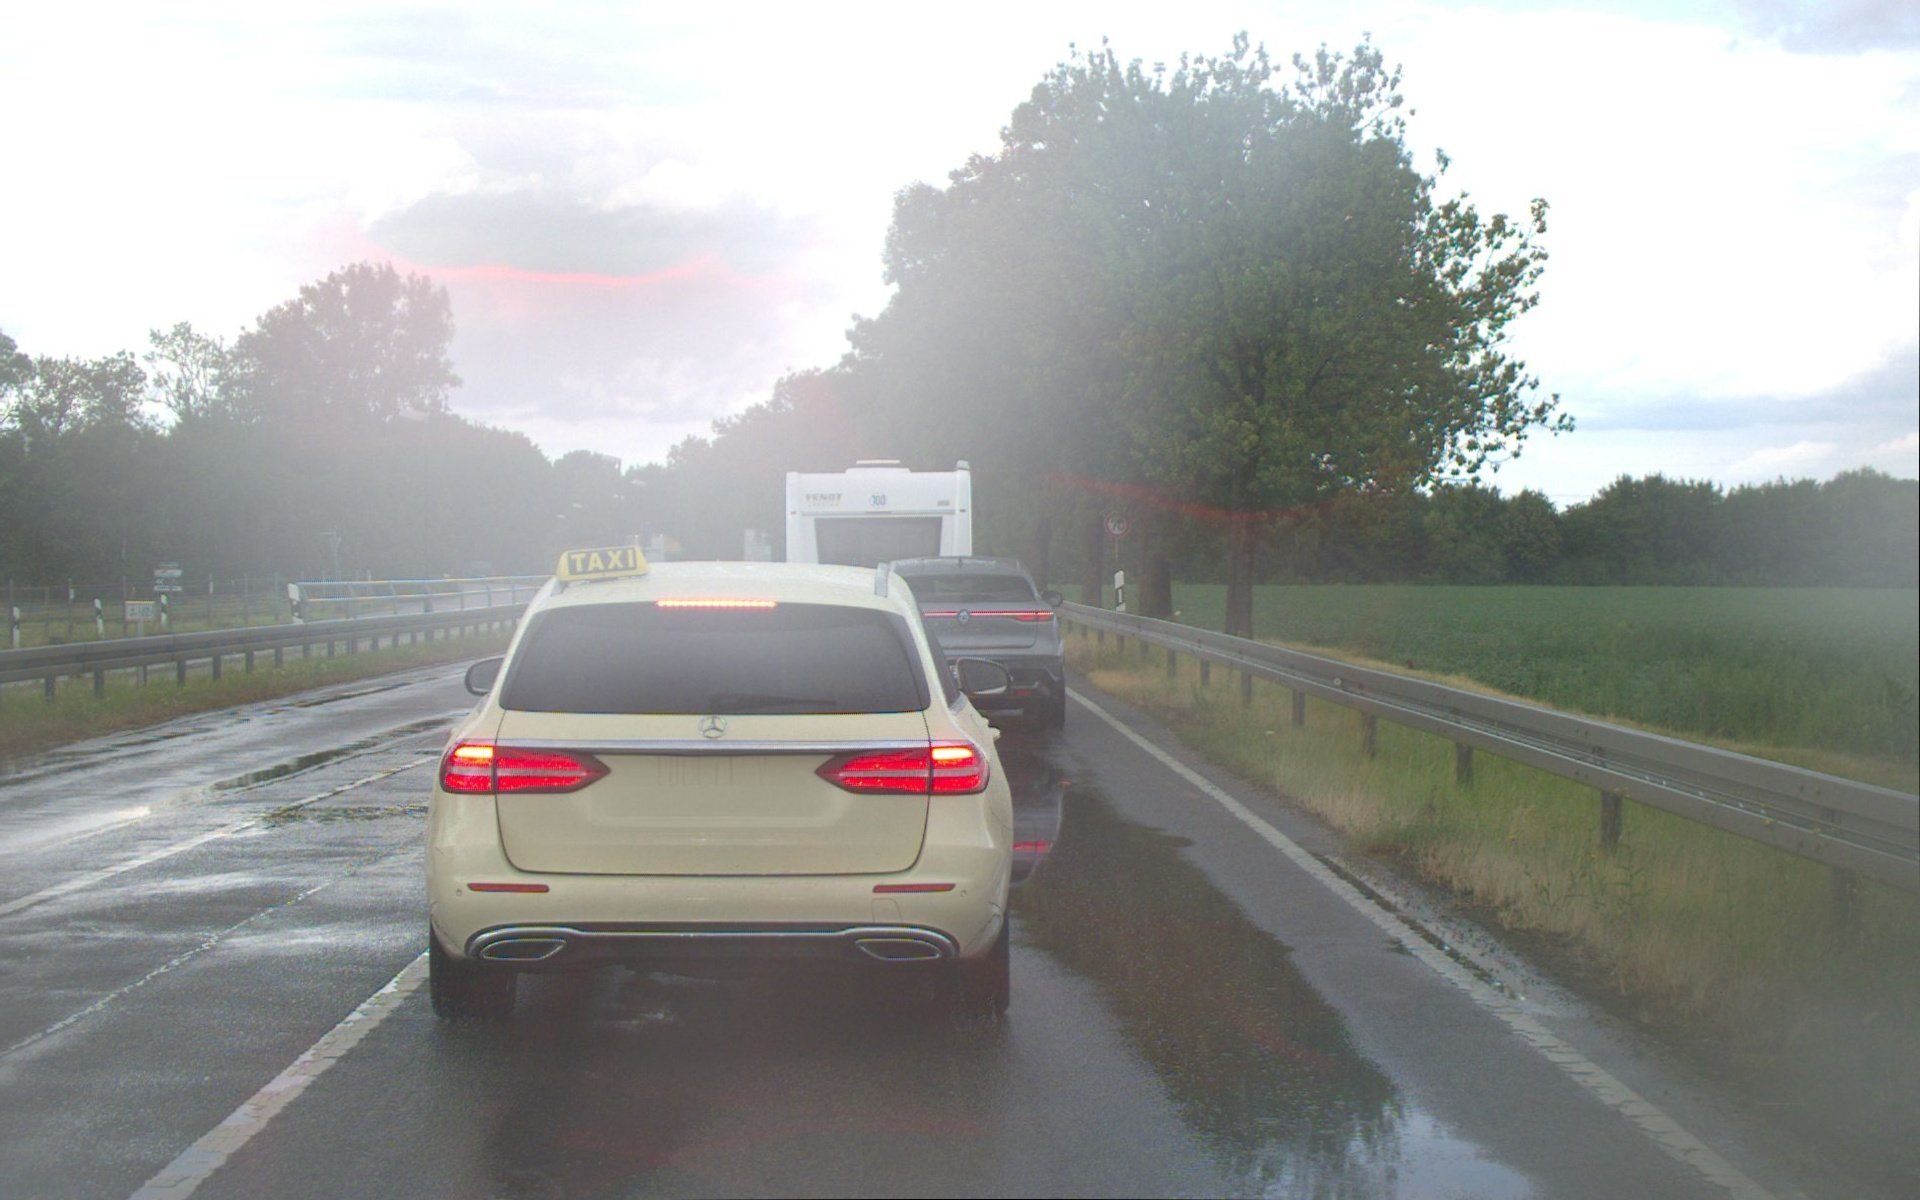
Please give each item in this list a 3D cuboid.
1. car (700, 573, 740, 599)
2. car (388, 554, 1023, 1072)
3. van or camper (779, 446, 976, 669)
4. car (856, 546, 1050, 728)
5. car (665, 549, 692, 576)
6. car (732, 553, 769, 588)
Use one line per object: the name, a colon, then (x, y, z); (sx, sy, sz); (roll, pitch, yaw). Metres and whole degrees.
car: (-12.023, -0.702, 172.639); (1.758, 1.265, 4.000); (0, 1, 0)
car: (-0.705, 0.585, 11.951); (1.825, 1.480, 4.145); (0, 1, 1)
van or camper: (-1.009, -0.567, 44.175); (2.350, 2.671, 5.768); (0, 1, 0)
car: (-0.068, 0.278, 30.746); (1.627, 1.524, 3.933); (0, 1, 0)
car: (-21.167, -2.826, 258.583); (1.993, 2.007, 4.001); (0, 1, -6)
car: (-12.308, -1.749, 202.373); (1.993, 2.044, 4.000); (0, 1, -1)
